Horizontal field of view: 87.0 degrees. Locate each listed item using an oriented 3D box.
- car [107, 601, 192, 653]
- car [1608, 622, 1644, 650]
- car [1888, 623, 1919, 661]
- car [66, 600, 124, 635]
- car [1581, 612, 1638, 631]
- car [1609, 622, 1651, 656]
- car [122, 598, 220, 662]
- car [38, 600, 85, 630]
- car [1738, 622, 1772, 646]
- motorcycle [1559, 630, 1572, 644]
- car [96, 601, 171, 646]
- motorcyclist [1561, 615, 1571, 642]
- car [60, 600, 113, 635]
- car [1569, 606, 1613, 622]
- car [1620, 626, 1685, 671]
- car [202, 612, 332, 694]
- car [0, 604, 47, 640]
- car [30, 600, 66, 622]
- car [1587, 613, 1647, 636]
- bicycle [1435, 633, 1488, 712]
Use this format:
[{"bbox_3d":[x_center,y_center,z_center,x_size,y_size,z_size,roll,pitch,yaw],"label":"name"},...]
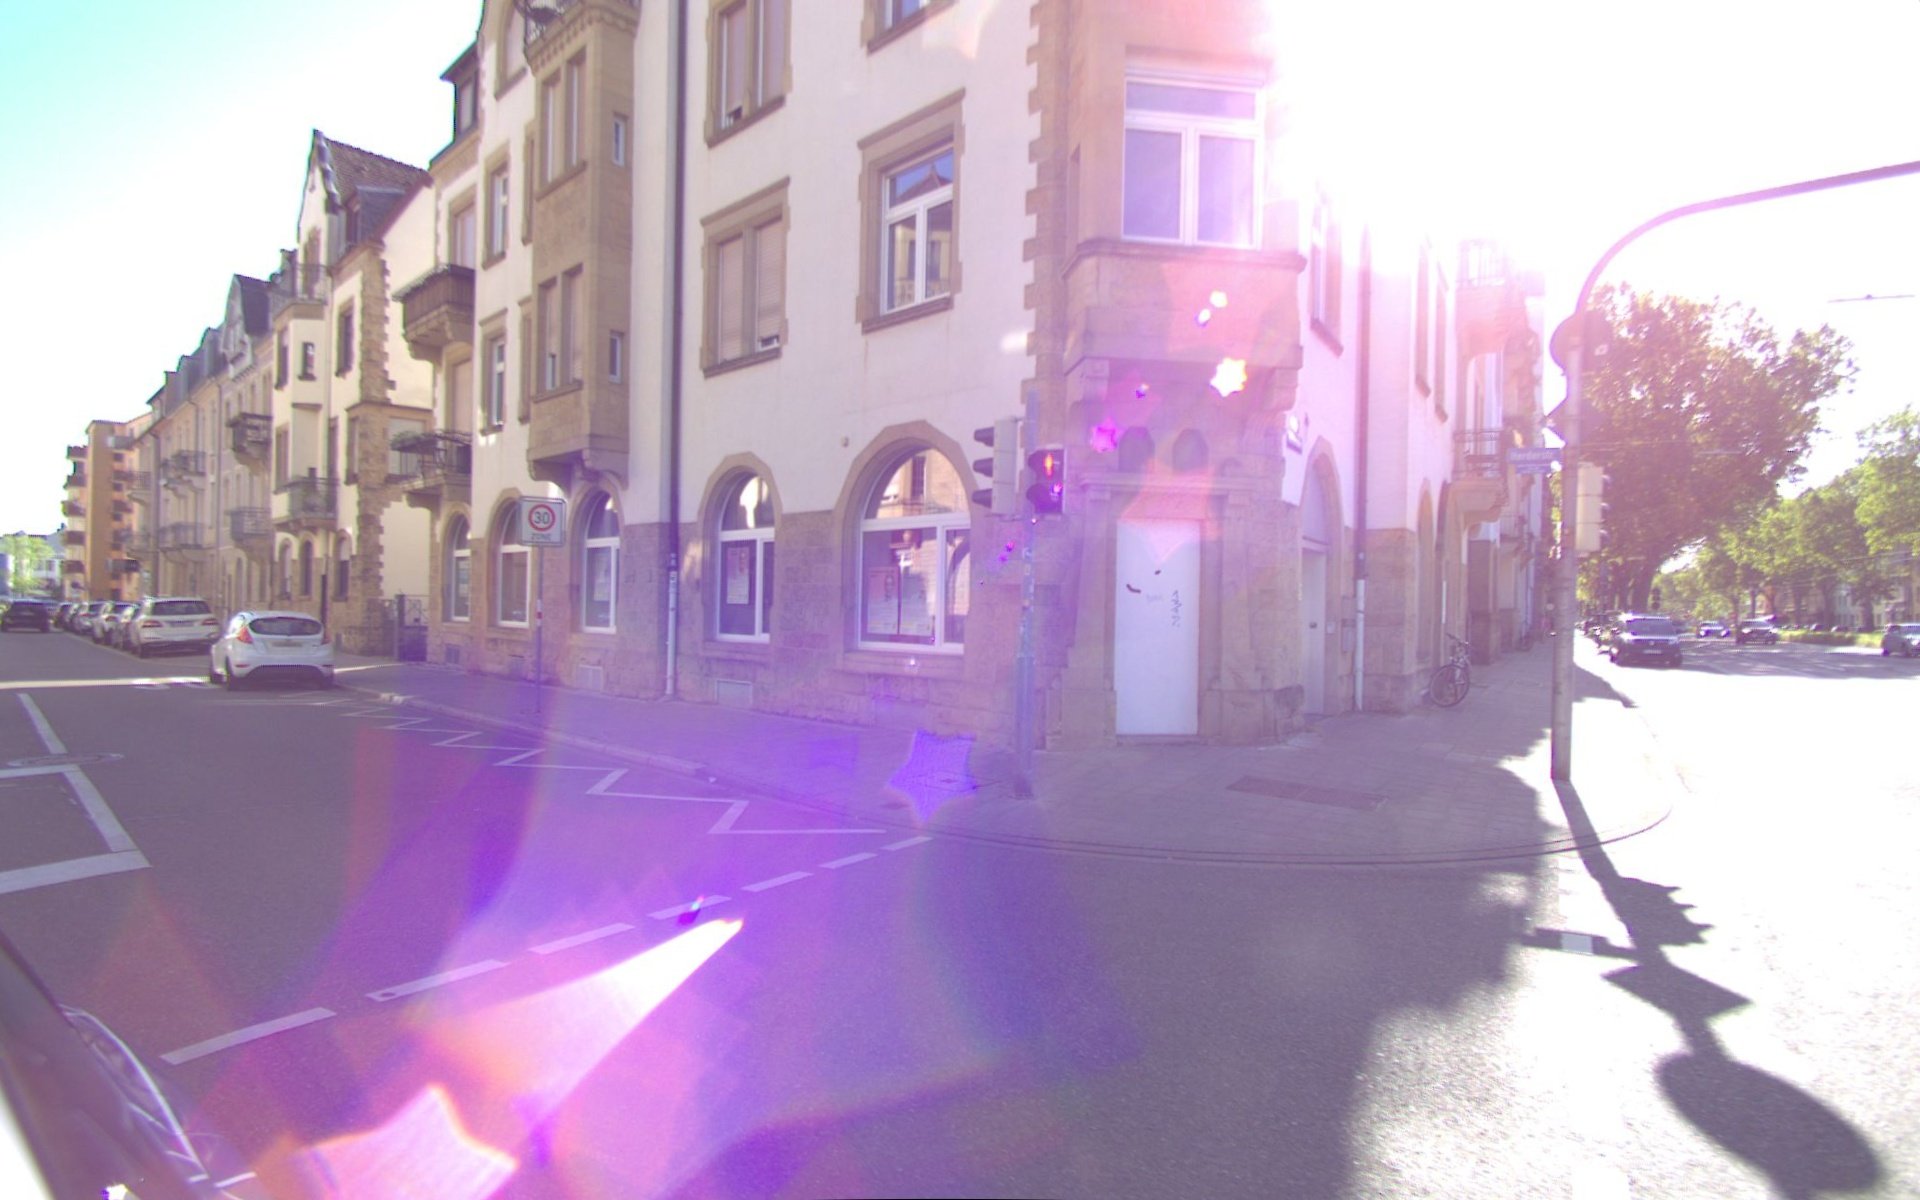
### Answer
[{"bbox_3d":[-27.864,0.869,34.726,1.890,1.529,4.351,-3,3,-43],"label":"car"},{"bbox_3d":[38.347,2.050,58.258,1.638,1.600,3.364,-1,-2,34],"label":"car"},{"bbox_3d":[40.658,1.729,42.472,1.760,1.541,3.855,-1,-1,31],"label":"car"},{"bbox_3d":[-41.667,0.805,48.726,1.890,1.529,4.351,-3,3,-43],"label":"car"},{"bbox_3d":[63.802,2.139,99.388,4.522,1.718,1.849,-1,1,-6],"label":"car"},{"bbox_3d":[32.501,1.849,49.092,1.638,1.600,3.364,-1,-2,34],"label":"car"},{"bbox_3d":[-23.731,0.821,30.385,1.890,1.671,4.351,-3,3,-43],"label":"car"},{"bbox_3d":[-53.673,0.847,60.445,1.890,1.636,4.350,-3,3,-44],"label":"car"},{"bbox_3d":[52.619,2.231,67.010,1.722,1.564,3.948,0,-1,38],"label":"car"},{"bbox_3d":[33.071,2.021,55.258,0.541,0.682,1.285,2,0,30],"label":"motorcycle"},{"bbox_3d":[-31.879,0.847,38.999,1.890,1.529,4.351,-3,3,-43],"label":"car"},{"bbox_3d":[33.078,1.532,55.254,0.450,1.458,0.552,2,0,30],"label":"motorcyclist"},{"bbox_3d":[-46.101,0.871,53.388,1.890,1.636,4.351,-3,3,-43],"label":"car"},{"bbox_3d":[69.950,1.509,112.306,3.776,1.718,1.836,0,1,18],"label":"car"},{"bbox_3d":[24.137,1.647,35.358,1.761,1.400,3.853,0,-1,33],"label":"car"},{"bbox_3d":[-13.445,0.977,19.566,1.534,1.422,3.575,4,-3,-42],"label":"car"},{"bbox_3d":[-47.929,1.124,51.698,1.889,1.741,4.351,2,-2,-42],"label":"car"},{"bbox_3d":[-73.228,0.832,81.244,4.348,1.636,1.891,1,3,45],"label":"car"},{"bbox_3d":[52.450,1.923,80.825,3.748,1.718,1.850,-1,1,-8],"label":"car"},{"bbox_3d":[8.025,1.122,16.166,0.608,1.142,1.791,0,-1,31],"label":"bicycle"}]
